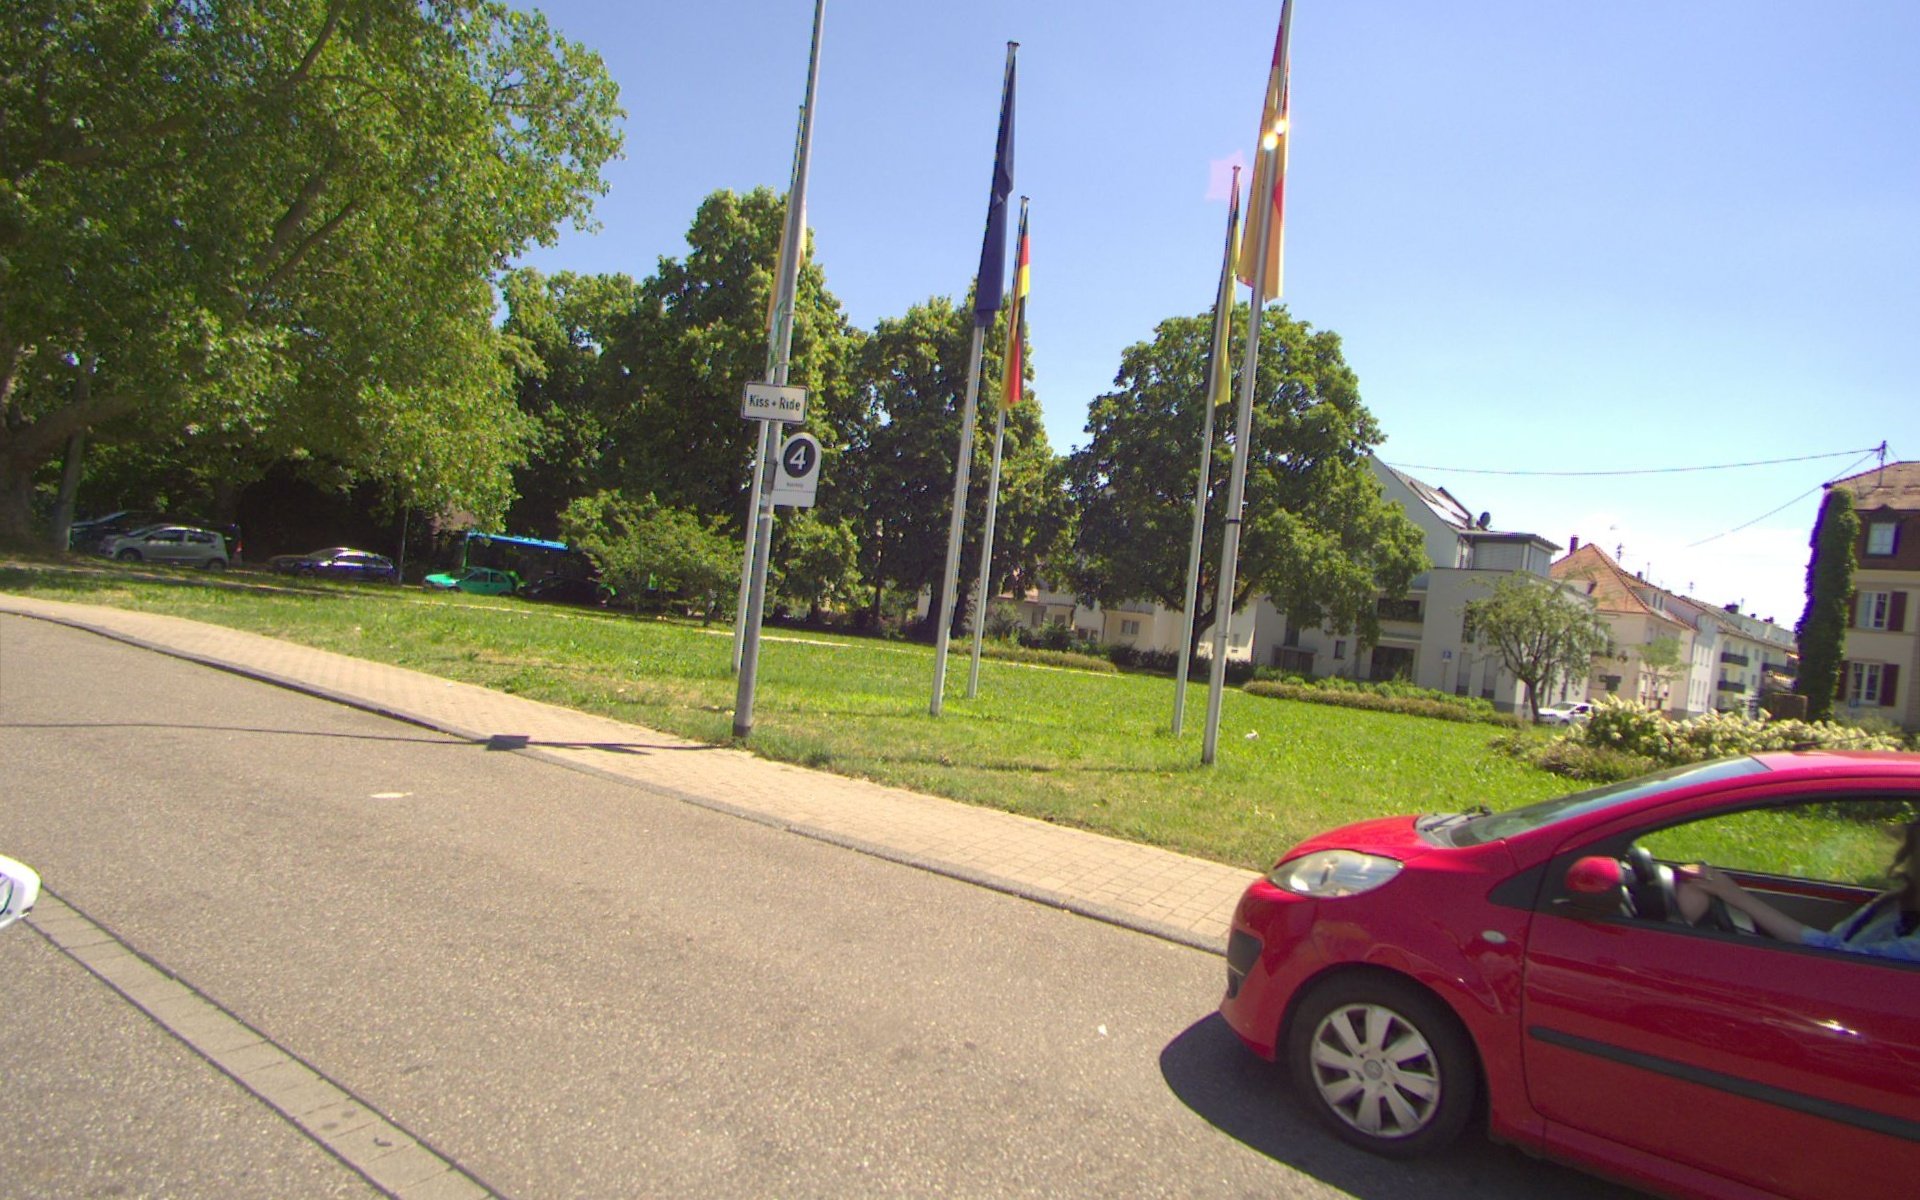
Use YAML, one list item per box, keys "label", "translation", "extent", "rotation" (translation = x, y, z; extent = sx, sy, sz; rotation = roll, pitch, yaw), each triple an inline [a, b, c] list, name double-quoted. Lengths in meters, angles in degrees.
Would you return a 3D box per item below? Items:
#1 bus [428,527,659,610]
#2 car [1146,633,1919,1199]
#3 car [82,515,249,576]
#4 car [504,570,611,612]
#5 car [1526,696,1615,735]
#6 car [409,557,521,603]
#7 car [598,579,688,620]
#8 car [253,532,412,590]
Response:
- label: "bus"
  translation: [-22.013, -1.514, 54.419]
  extent: [2.231, 3.013, 12.396]
  rotation: [5, -2, 32]
- label: "car"
  translation: [2.672, 1.075, 3.056]
  extent: [3.649, 1.496, 1.719]
  rotation: [6, -1, 36]
- label: "car"
  translation: [-27.636, -1.864, 35.111]
  extent: [1.968, 1.484, 4.108]
  rotation: [6, -1, 34]
- label: "car"
  translation: [-19.268, -0.404, 48.352]
  extent: [1.968, 1.432, 4.344]
  rotation: [5, -3, 32]
- label: "car"
  translation: [29.959, 5.666, 49.380]
  extent: [3.646, 1.450, 1.462]
  rotation: [7, 0, -13]
- label: "car"
  translation: [-21.689, -0.849, 44.219]
  extent: [1.968, 1.470, 3.886]
  rotation: [5, -3, 33]
- label: "car"
  translation: [-16.554, -0.025, 52.680]
  extent: [1.968, 1.627, 4.102]
  rotation: [5, -3, 33]
- label: "car"
  translation: [-24.463, -1.491, 39.398]
  extent: [1.969, 1.627, 4.826]
  rotation: [6, -1, 35]
